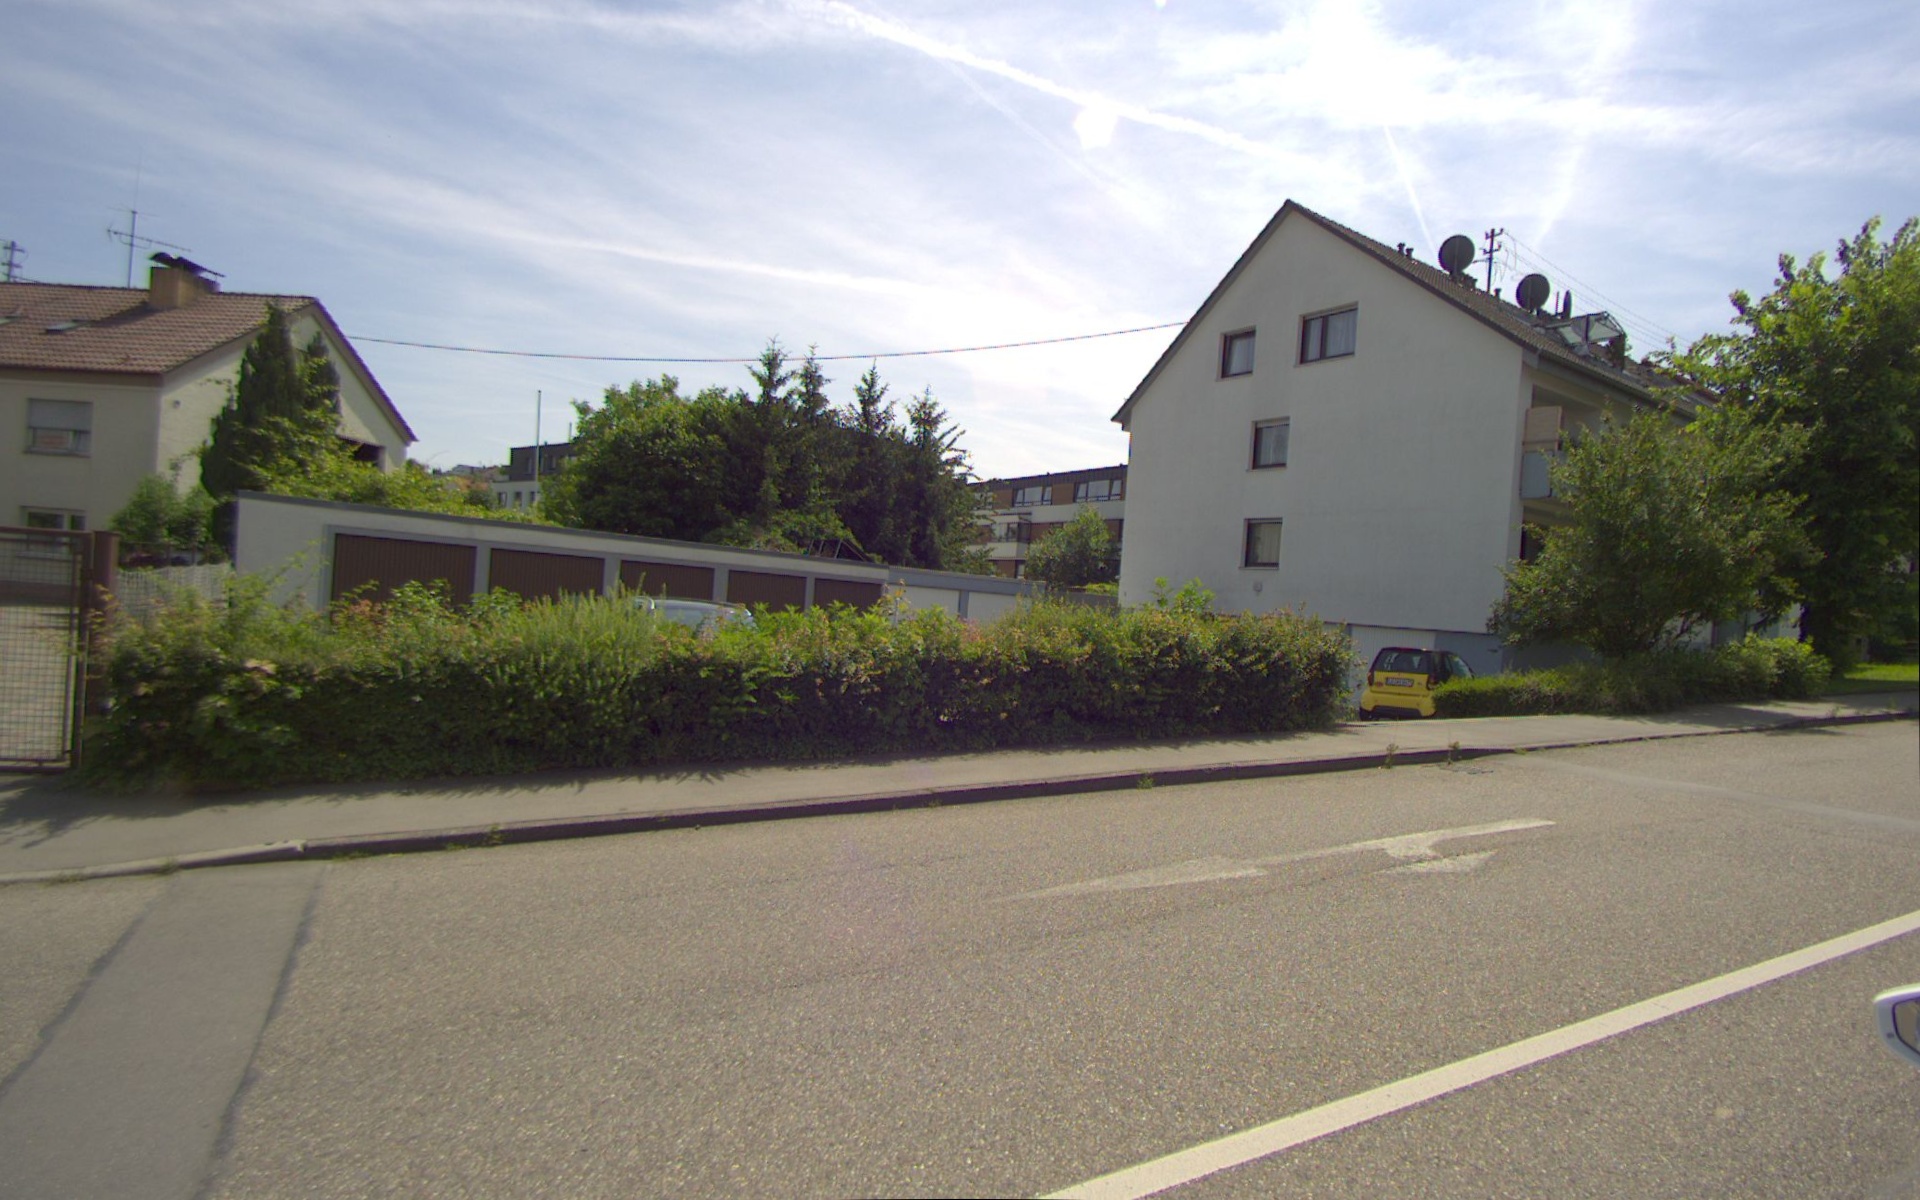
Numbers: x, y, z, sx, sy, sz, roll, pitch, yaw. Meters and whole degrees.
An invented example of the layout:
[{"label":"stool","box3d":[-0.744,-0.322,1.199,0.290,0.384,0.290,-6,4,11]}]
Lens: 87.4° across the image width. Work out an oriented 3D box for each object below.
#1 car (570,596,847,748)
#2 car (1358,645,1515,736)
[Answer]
[{"label":"car","box3d":[-3.144,0.719,11.948,1.979,1.405,3.963,2,0,-33]},{"label":"car","box3d":[9.299,1.742,19.538,3.206,1.560,1.460,5,-2,-38]}]
